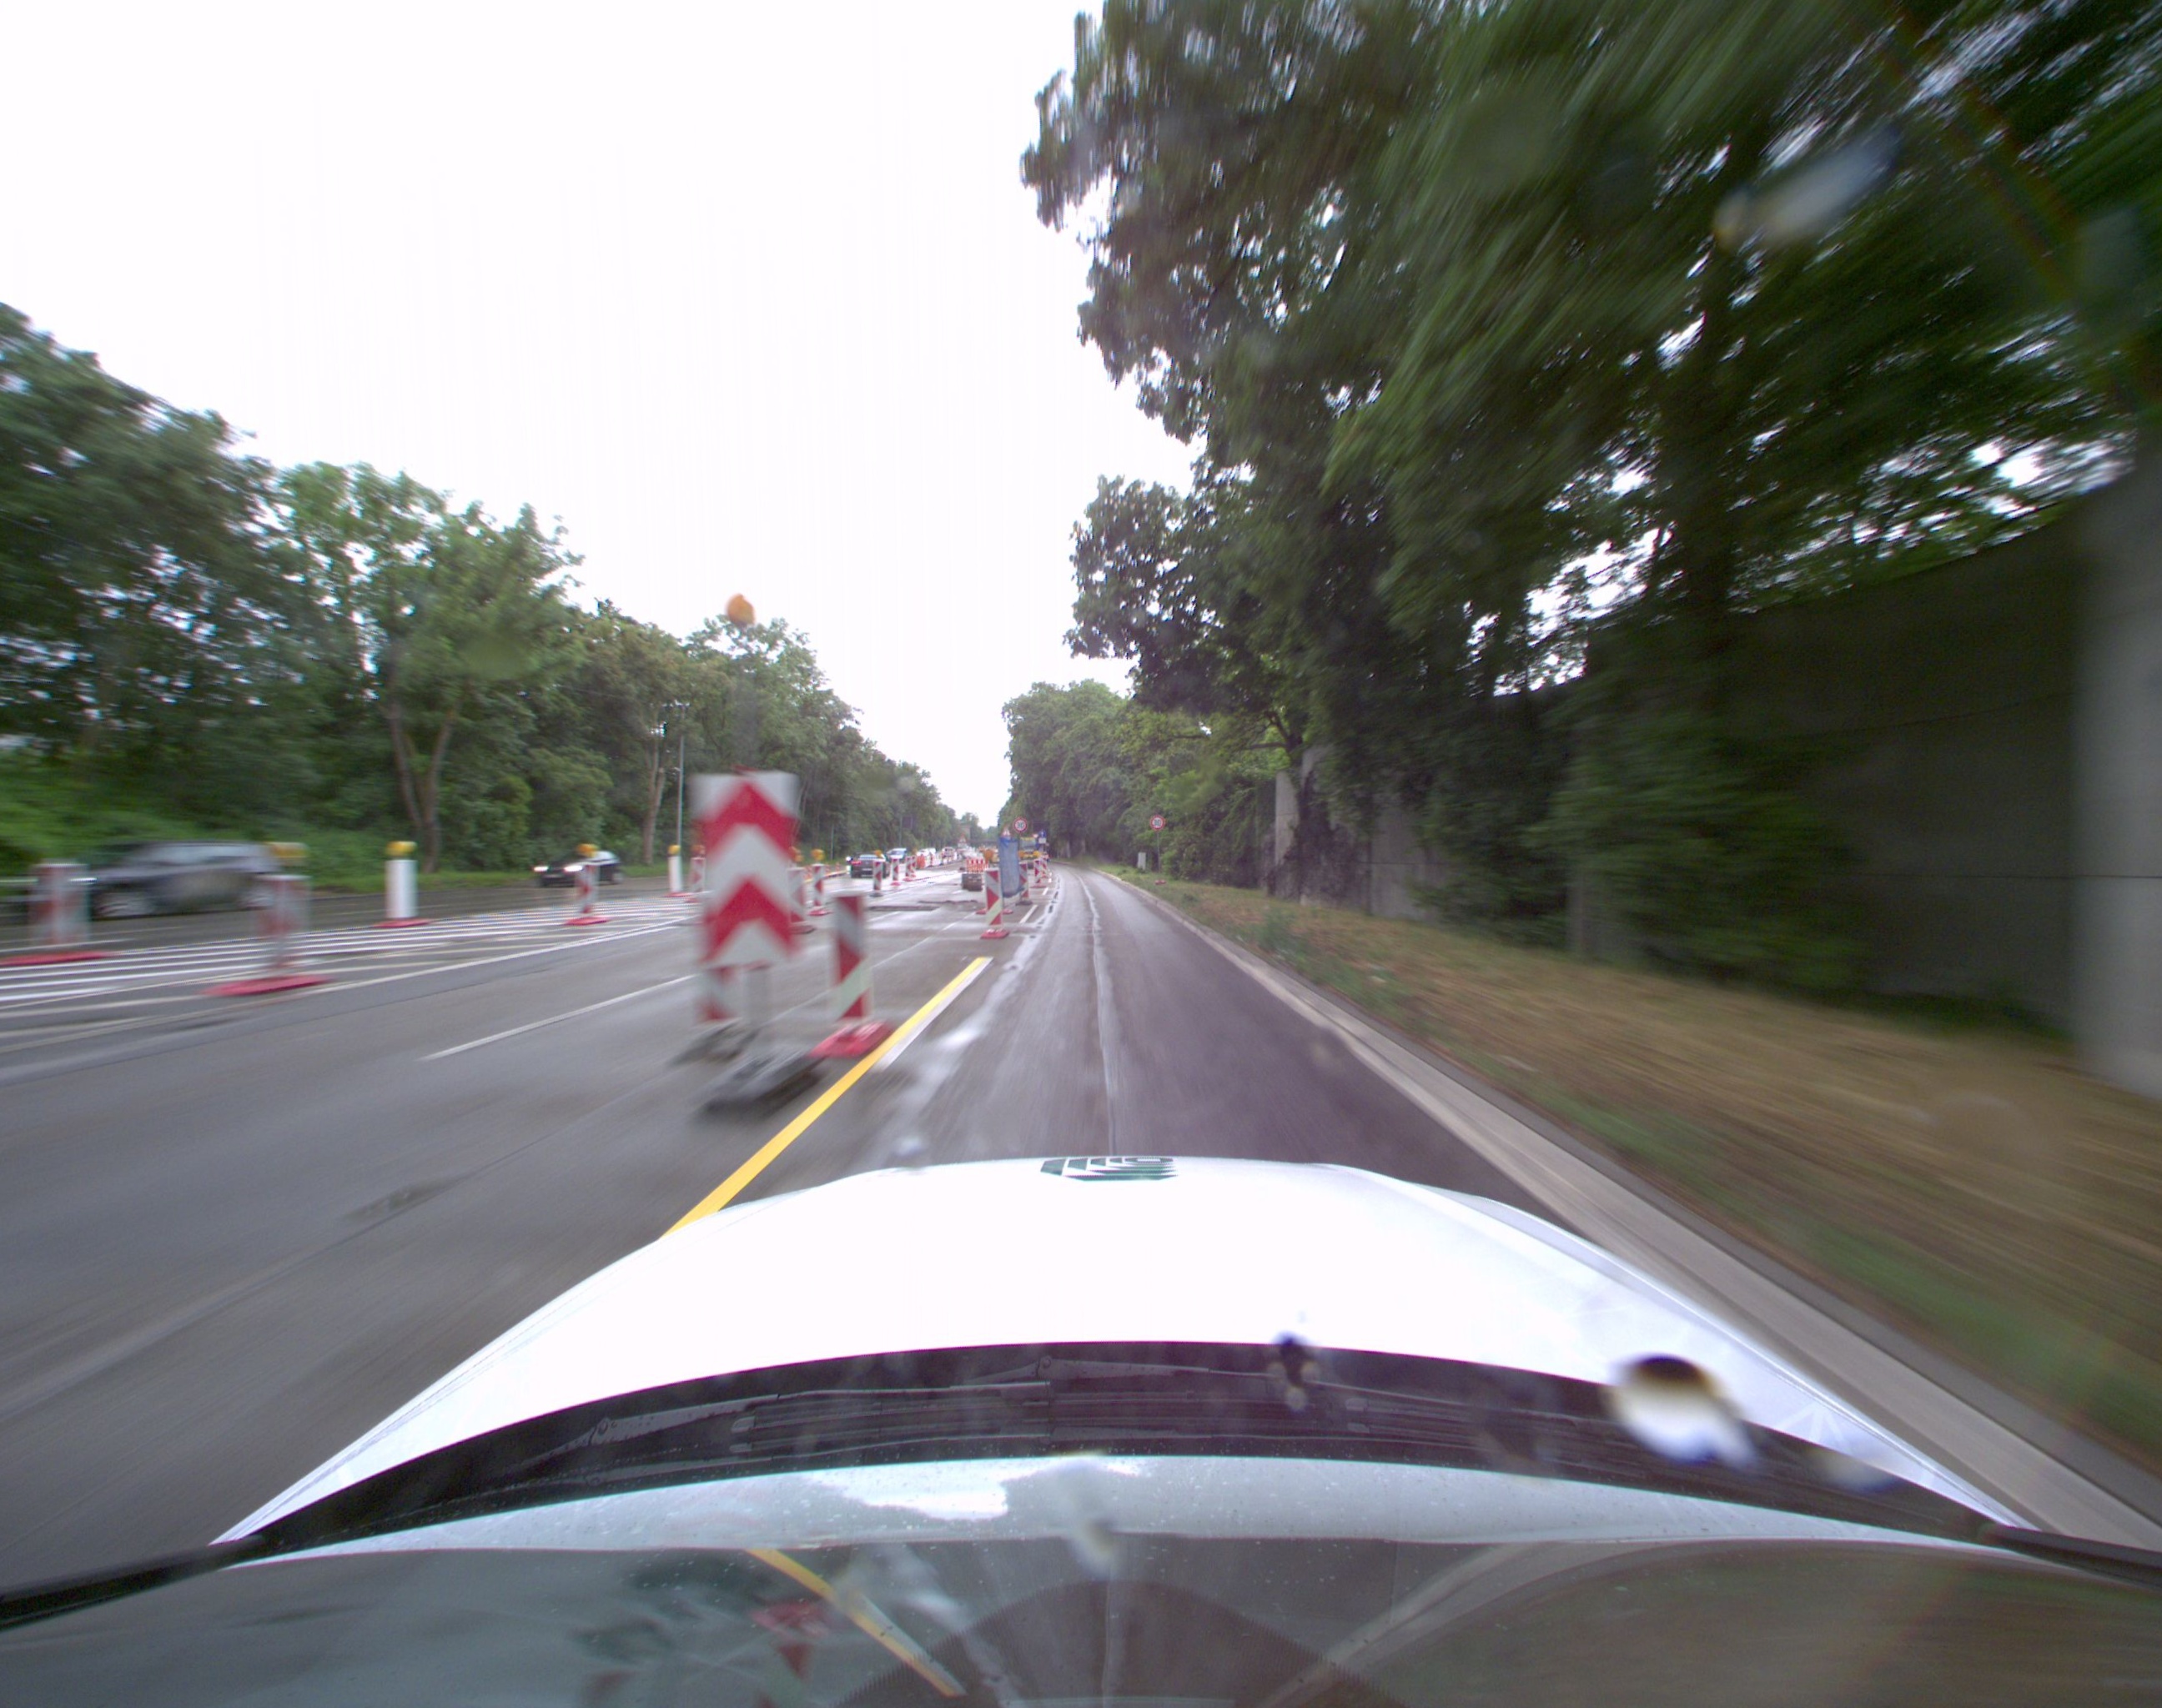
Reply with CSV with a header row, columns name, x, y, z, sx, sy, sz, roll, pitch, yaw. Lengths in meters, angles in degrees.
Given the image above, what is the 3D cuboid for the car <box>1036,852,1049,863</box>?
name,x,y,z,sx,sy,sz,roll,pitch,yaw
car,-6.053,0.501,128.531,1.908,1.598,4.832,1,1,-1

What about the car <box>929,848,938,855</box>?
name,x,y,z,sx,sy,sz,roll,pitch,yaw
car,-40.053,-0.672,221.506,1.924,1.665,4.644,0,0,-5

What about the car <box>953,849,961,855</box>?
name,x,y,z,sx,sy,sz,roll,pitch,yaw
car,-34.593,-0.592,227.013,1.568,1.457,3.363,3,1,-15

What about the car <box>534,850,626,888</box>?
name,x,y,z,sx,sy,sz,roll,pitch,yaw
car,-20.473,0.567,33.435,1.520,1.457,3.540,-1,0,1

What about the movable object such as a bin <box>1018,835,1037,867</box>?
name,x,y,z,sx,sy,sz,roll,pitch,yaw
movable object such as a bin,-5.025,-0.290,76.684,1.742,2.867,3.531,0,0,-3

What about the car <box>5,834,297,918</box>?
name,x,y,z,sx,sy,sz,roll,pitch,yaw
car,-20.384,0.419,18.185,1.629,1.647,4.200,0,0,1

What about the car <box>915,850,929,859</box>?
name,x,y,z,sx,sy,sz,roll,pitch,yaw
car,-31.283,0.045,159.885,1.922,1.665,4.650,0,0,-1

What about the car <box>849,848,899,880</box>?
name,x,y,z,sx,sy,sz,roll,pitch,yaw
car,-11.374,0.524,44.988,1.858,1.491,3.997,2,3,-3

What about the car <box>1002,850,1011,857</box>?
name,x,y,z,sx,sy,sz,roll,pitch,yaw
car,-17.792,-0.075,194.522,1.870,1.618,3.998,3,1,-1
